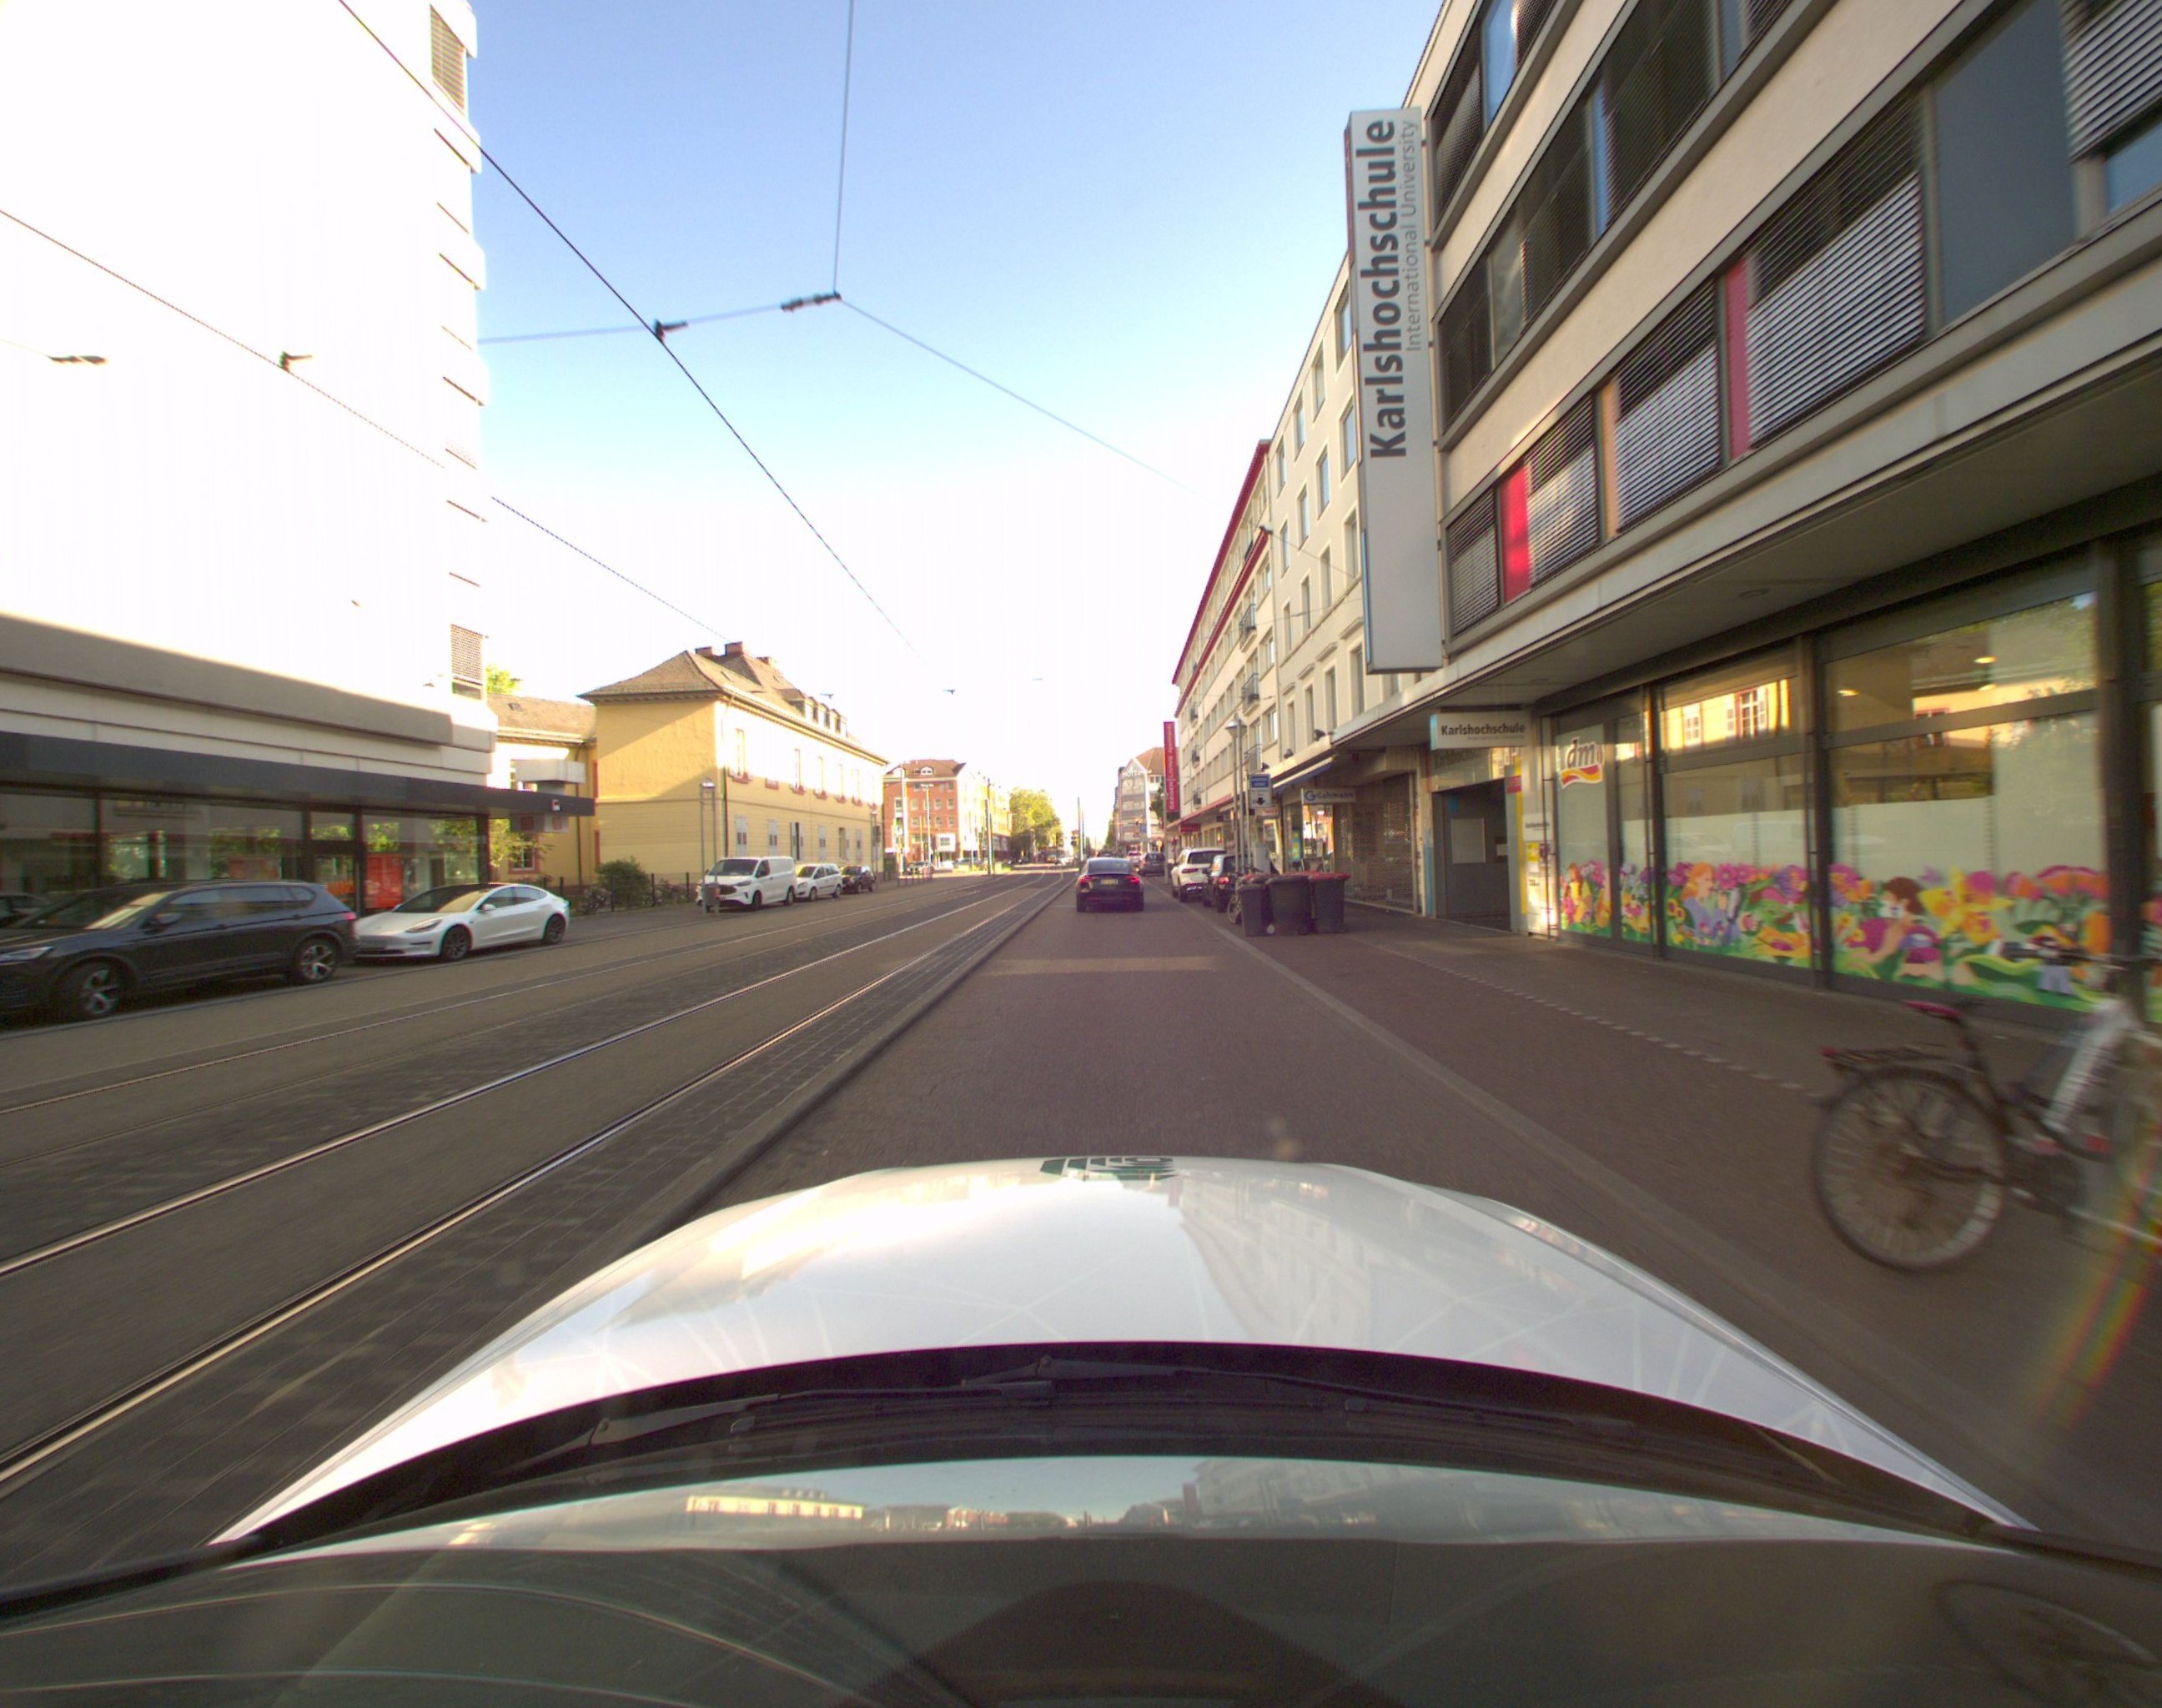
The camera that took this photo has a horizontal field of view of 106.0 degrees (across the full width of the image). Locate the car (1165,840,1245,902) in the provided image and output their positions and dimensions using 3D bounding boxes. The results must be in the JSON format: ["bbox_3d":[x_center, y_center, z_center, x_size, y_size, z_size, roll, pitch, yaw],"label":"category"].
[{"bbox_3d":[3.942,0.529,26.770,1.843,1.724,5.194,-4,0,1],"label":"car"}]

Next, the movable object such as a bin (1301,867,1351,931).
[{"bbox_3d":[4.421,0.796,14.727,0.687,1.089,0.666,-3,-1,5],"label":"movable object such as a bin"}]

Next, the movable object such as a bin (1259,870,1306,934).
[{"bbox_3d":[3.642,0.853,14.765,0.687,1.089,0.686,-3,-1,5],"label":"movable object such as a bin"}]

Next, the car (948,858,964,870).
[{"bbox_3d":[-16.820,1.309,109.150,1.881,1.495,4.911,-2,0,-11],"label":"car"}]

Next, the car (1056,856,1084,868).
[{"bbox_3d":[-1.718,1.209,127.908,4.018,1.739,1.978,-2,0,-36],"label":"car"}]

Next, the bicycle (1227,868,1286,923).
[{"bbox_3d":[3.697,0.873,17.189,1.127,1.079,0.320,-4,-1,0],"label":"bicycle"}]

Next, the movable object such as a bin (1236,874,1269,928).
[{"bbox_3d":[3.407,0.919,16.199,0.520,1.014,0.672,-3,-1,4],"label":"movable object such as a bin"}]

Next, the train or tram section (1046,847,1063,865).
[{"bbox_3d":[-5.667,0.412,174.485,2.664,3.715,14.200,0,0,2],"label":"train or tram section"}]

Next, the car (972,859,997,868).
[{"bbox_3d":[-15.915,1.481,134.622,3.950,1.470,2.012,0,-1,43],"label":"car"}]

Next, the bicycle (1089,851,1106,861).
[{"bbox_3d":[1.697,0.193,83.327,1.726,1.088,0.677,0,-1,-6],"label":"bicycle"}]

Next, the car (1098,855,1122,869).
[{"bbox_3d":[3.337,0.908,93.526,1.825,1.519,4.202,0,0,-11],"label":"car"}]

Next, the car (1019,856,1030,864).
[{"bbox_3d":[-11.629,1.236,168.157,1.744,1.651,4.002,0,0,2],"label":"car"}]

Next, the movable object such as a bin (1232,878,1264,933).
[{"bbox_3d":[3.057,0.944,14.910,0.485,0.958,0.458,-3,-1,5],"label":"movable object such as a bin"}]

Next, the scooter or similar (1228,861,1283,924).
[{"bbox_3d":[3.587,0.793,16.796,0.989,1.231,0.320,-4,-1,0],"label":"scooter or similar"}]

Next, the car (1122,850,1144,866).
[{"bbox_3d":[5.104,0.367,79.877,1.778,1.519,4.215,0,0,-1],"label":"car"}]

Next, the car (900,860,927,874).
[{"bbox_3d":[-17.680,1.379,86.119,1.895,1.464,4.003,0,0,3],"label":"car"}]

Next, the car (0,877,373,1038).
[{"bbox_3d":[-12.910,1.214,11.294,1.971,1.678,4.657,0,0,2],"label":"car"}]

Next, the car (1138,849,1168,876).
[{"bbox_3d":[4.807,0.539,54.576,1.738,1.632,3.651,-3,0,2],"label":"car"}]

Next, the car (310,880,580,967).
[{"bbox_3d":[-12.785,1.316,16.875,1.882,1.421,4.656,0,0,0],"label":"car"}]

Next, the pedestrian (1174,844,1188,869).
[{"bbox_3d":[6.970,0.170,56.859,0.810,1.683,0.718,0,-1,25],"label":"pedestrian"}]

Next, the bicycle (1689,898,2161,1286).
[{"bbox_3d":[3.422,0.804,3.024,1.781,1.159,0.669,-3,0,0],"label":"bicycle"}]

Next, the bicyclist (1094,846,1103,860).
[{"bbox_3d":[1.797,-0.102,83.379,0.835,1.500,0.559,0,-1,-6],"label":"bicyclist"}]

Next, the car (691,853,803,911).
[{"bbox_3d":[-12.306,0.983,30.443,1.986,1.975,5.097,0,0,1],"label":"car"}]

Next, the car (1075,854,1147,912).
[{"bbox_3d":[0.793,0.764,22.885,1.842,1.484,3.787,-1,0,1],"label":"car"}]

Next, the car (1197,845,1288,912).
[{"bbox_3d":[4.158,0.589,21.566,1.608,1.528,4.071,-3,0,1],"label":"car"}]

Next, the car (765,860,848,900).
[{"bbox_3d":[-12.122,1.092,36.278,1.799,1.685,4.653,0,0,4],"label":"car"}]

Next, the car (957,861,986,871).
[{"bbox_3d":[-16.275,1.718,120.860,1.974,1.420,4.025,0,-1,36],"label":"car"}]

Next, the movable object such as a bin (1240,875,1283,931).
[{"bbox_3d":[3.435,0.931,15.535,0.683,1.014,0.509,-3,-1,4],"label":"movable object such as a bin"}]

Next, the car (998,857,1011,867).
[{"bbox_3d":[-15.531,1.617,165.337,1.986,2.014,4.001,0,0,2],"label":"car"}]

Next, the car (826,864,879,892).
[{"bbox_3d":[-11.763,1.206,42.094,1.608,1.400,3.721,0,0,1],"label":"car"}]

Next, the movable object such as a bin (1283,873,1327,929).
[{"bbox_3d":[4.239,0.880,15.458,0.655,1.014,0.637,-3,-1,4],"label":"movable object such as a bin"}]

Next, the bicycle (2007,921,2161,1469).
[{"bbox_3d":[3.339,0.759,1.794,1.781,1.217,0.669,-3,0,0],"label":"bicycle"}]

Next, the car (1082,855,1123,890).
[{"bbox_3d":[0.968,0.765,35.369,1.647,1.418,4.003,0,0,2],"label":"car"}]
